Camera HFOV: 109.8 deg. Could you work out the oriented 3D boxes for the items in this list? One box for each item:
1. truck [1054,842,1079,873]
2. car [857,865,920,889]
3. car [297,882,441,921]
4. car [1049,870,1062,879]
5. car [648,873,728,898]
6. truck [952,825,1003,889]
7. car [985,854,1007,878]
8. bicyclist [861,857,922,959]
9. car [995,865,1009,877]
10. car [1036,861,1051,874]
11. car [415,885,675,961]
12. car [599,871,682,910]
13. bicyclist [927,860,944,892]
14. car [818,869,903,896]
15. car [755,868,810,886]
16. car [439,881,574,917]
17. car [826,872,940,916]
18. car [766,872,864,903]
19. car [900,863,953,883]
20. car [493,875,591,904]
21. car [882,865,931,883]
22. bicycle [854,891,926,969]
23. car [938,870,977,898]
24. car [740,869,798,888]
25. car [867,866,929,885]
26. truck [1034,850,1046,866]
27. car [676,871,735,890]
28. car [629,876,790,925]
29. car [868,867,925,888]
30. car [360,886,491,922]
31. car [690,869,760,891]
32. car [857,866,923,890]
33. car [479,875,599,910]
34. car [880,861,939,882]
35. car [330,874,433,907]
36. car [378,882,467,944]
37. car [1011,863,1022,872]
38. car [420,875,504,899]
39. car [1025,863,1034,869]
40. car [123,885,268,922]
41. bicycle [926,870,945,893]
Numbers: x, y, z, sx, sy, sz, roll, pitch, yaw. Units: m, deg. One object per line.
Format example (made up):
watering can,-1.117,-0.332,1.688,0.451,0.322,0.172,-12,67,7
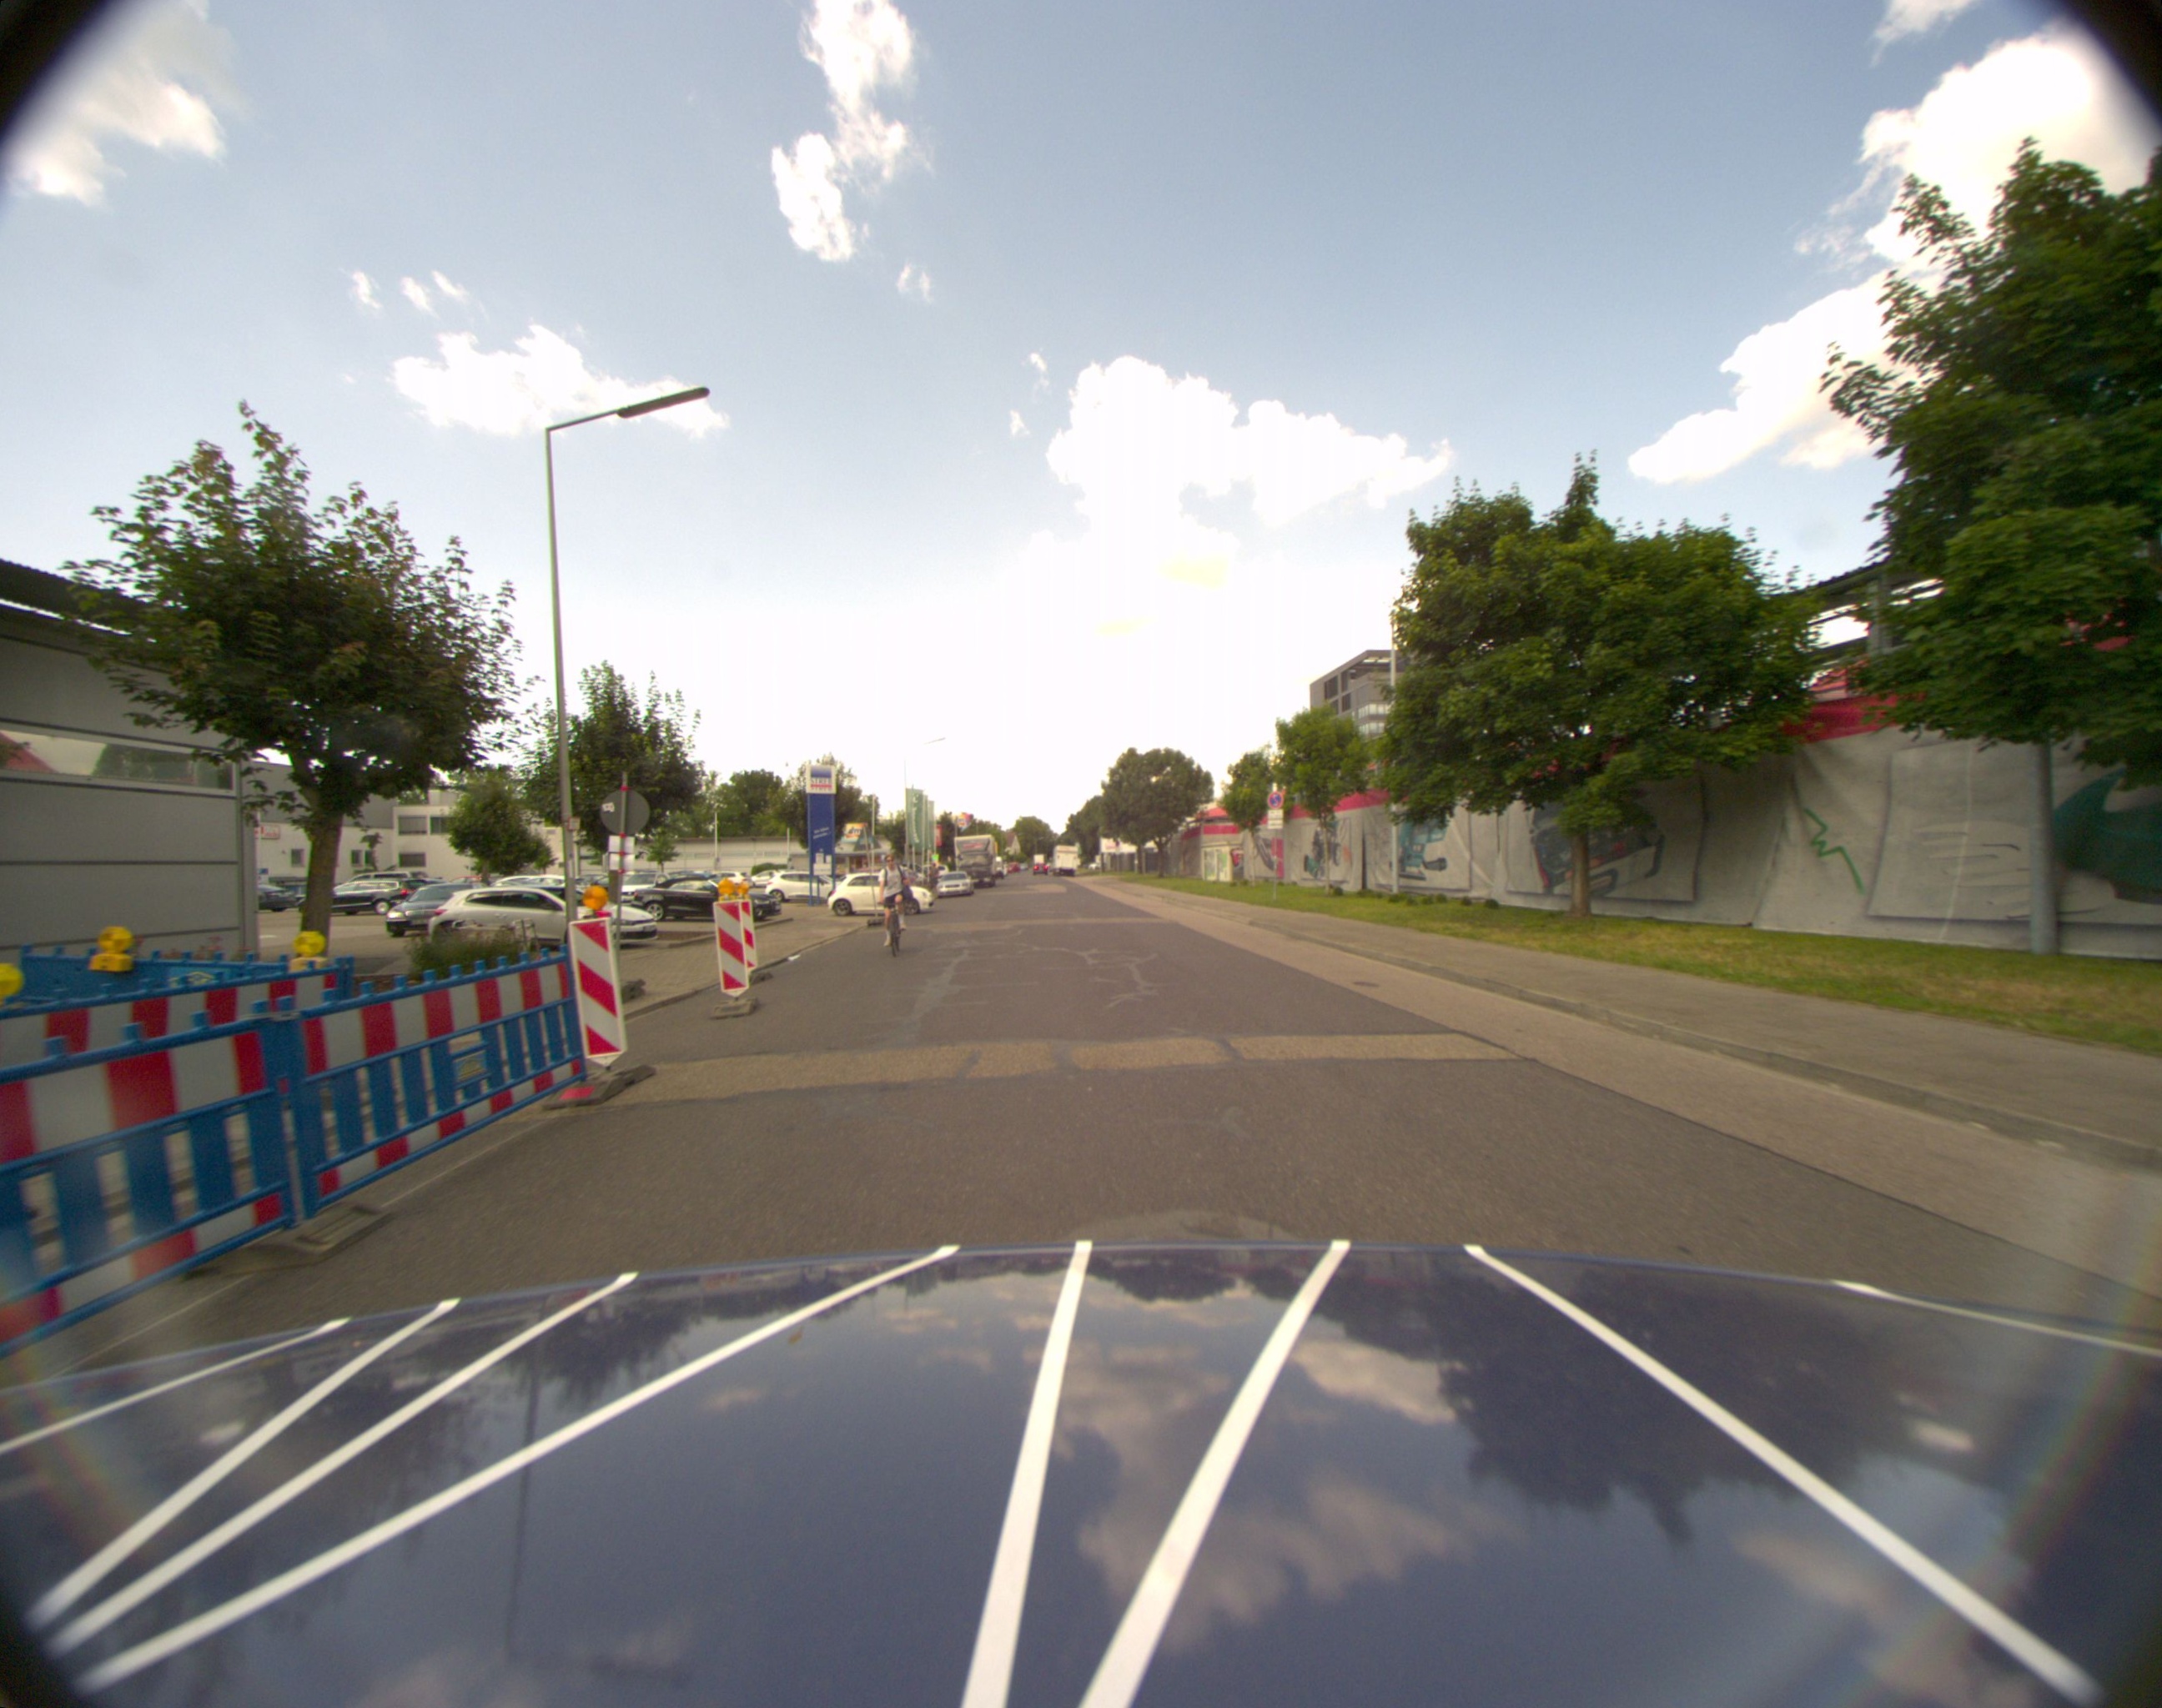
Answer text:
truck,-1.875,0.456,95.305,2.755,3.700,7.169,0,0,-4
car,-12.673,1.527,50.186,3.897,1.513,1.748,-1,-1,-9
car,-29.025,1.914,31.081,4.054,1.475,1.724,-1,-1,-6
car,-4.533,3.644,134.734,1.983,1.565,3.999,-2,-1,-4
car,-24.153,1.909,46.789,3.994,1.475,1.740,-1,-1,-6
truck,-7.368,0.256,55.238,2.786,4.091,8.277,-4,-1,-4
car,-9.382,1.342,83.959,2.058,2.394,5.453,-4,-1,-4
bicyclist,-3.521,0.973,14.197,0.809,1.782,1.206,-4,0,-5
car,-10.453,2.291,100.967,1.699,1.447,3.549,-4,-1,-4
car,-4.957,1.798,100.219,1.879,1.610,4.293,0,-1,-4
car,-11.335,1.425,16.357,4.115,1.454,1.989,0,-1,-5
car,-18.949,1.535,32.869,1.724,1.510,3.751,-2,-1,-6
bicyclist,-8.584,1.297,44.918,0.796,1.899,0.829,2,0,-2
car,-12.372,1.594,42.773,4.321,1.435,1.846,-1,-1,-6
car,-25.051,1.901,63.876,3.947,1.475,1.724,-1,-1,-6
car,-23.736,1.843,31.502,4.116,1.330,1.793,-1,-1,-6
car,-6.932,1.394,26.841,3.610,1.461,1.688,0,-1,-2
car,-12.164,1.514,34.954,3.964,1.402,1.796,0,-1,-7
car,-14.685,1.800,72.292,4.596,1.674,1.743,-2,-1,-21
car,-29.291,1.918,41.378,4.022,1.475,1.724,-1,-1,-6
car,-14.940,1.691,65.206,3.822,1.490,1.653,-1,-1,-3
bicycle,-3.488,1.341,14.129,0.800,1.173,2.626,-3,0,-4
car,-6.720,1.601,41.683,1.666,1.332,3.984,-5,-1,-4
car,-25.146,1.937,61.360,3.947,1.475,1.724,-1,-1,-6
car,-14.415,1.693,60.095,4.494,1.428,1.858,-1,-1,-5
truck,-11.644,1.178,214.866,2.980,4.131,9.664,-2,-1,-4
car,-30.280,2.149,61.381,3.947,1.475,1.724,-1,-1,-6
car,-11.658,1.447,24.050,4.191,1.422,1.806,0,-1,-3
car,-13.422,1.680,55.381,3.897,1.423,1.748,-1,-1,-9
car,-29.084,2.192,33.828,4.130,1.475,1.724,-1,-1,-6
car,-24.296,1.763,51.943,3.947,1.475,1.724,-1,-1,-6
car,-13.221,1.667,52.869,4.300,1.533,1.748,-1,-1,-9
car,-24.413,1.706,34.315,4.071,1.475,1.724,-1,-1,-6
car,-15.254,1.517,67.668,4.907,1.777,1.902,-1,-1,-5
car,-39.838,2.058,43.349,4.077,1.789,1.724,-1,-1,-6
car,-18.499,1.581,21.470,1.690,1.403,4.376,-3,1,-39
car,-11.063,2.400,130.395,1.857,1.467,3.999,-2,-1,-4
car,-41.209,2.170,50.649,4.043,1.475,1.724,-1,-1,-6
car,-12.049,2.804,176.903,1.983,1.467,3.999,-2,-1,-4
car,-39.108,2.165,33.636,4.062,1.475,1.755,-1,-1,-6
bicycle,-8.591,1.618,44.912,0.794,1.287,1.882,2,0,-2
